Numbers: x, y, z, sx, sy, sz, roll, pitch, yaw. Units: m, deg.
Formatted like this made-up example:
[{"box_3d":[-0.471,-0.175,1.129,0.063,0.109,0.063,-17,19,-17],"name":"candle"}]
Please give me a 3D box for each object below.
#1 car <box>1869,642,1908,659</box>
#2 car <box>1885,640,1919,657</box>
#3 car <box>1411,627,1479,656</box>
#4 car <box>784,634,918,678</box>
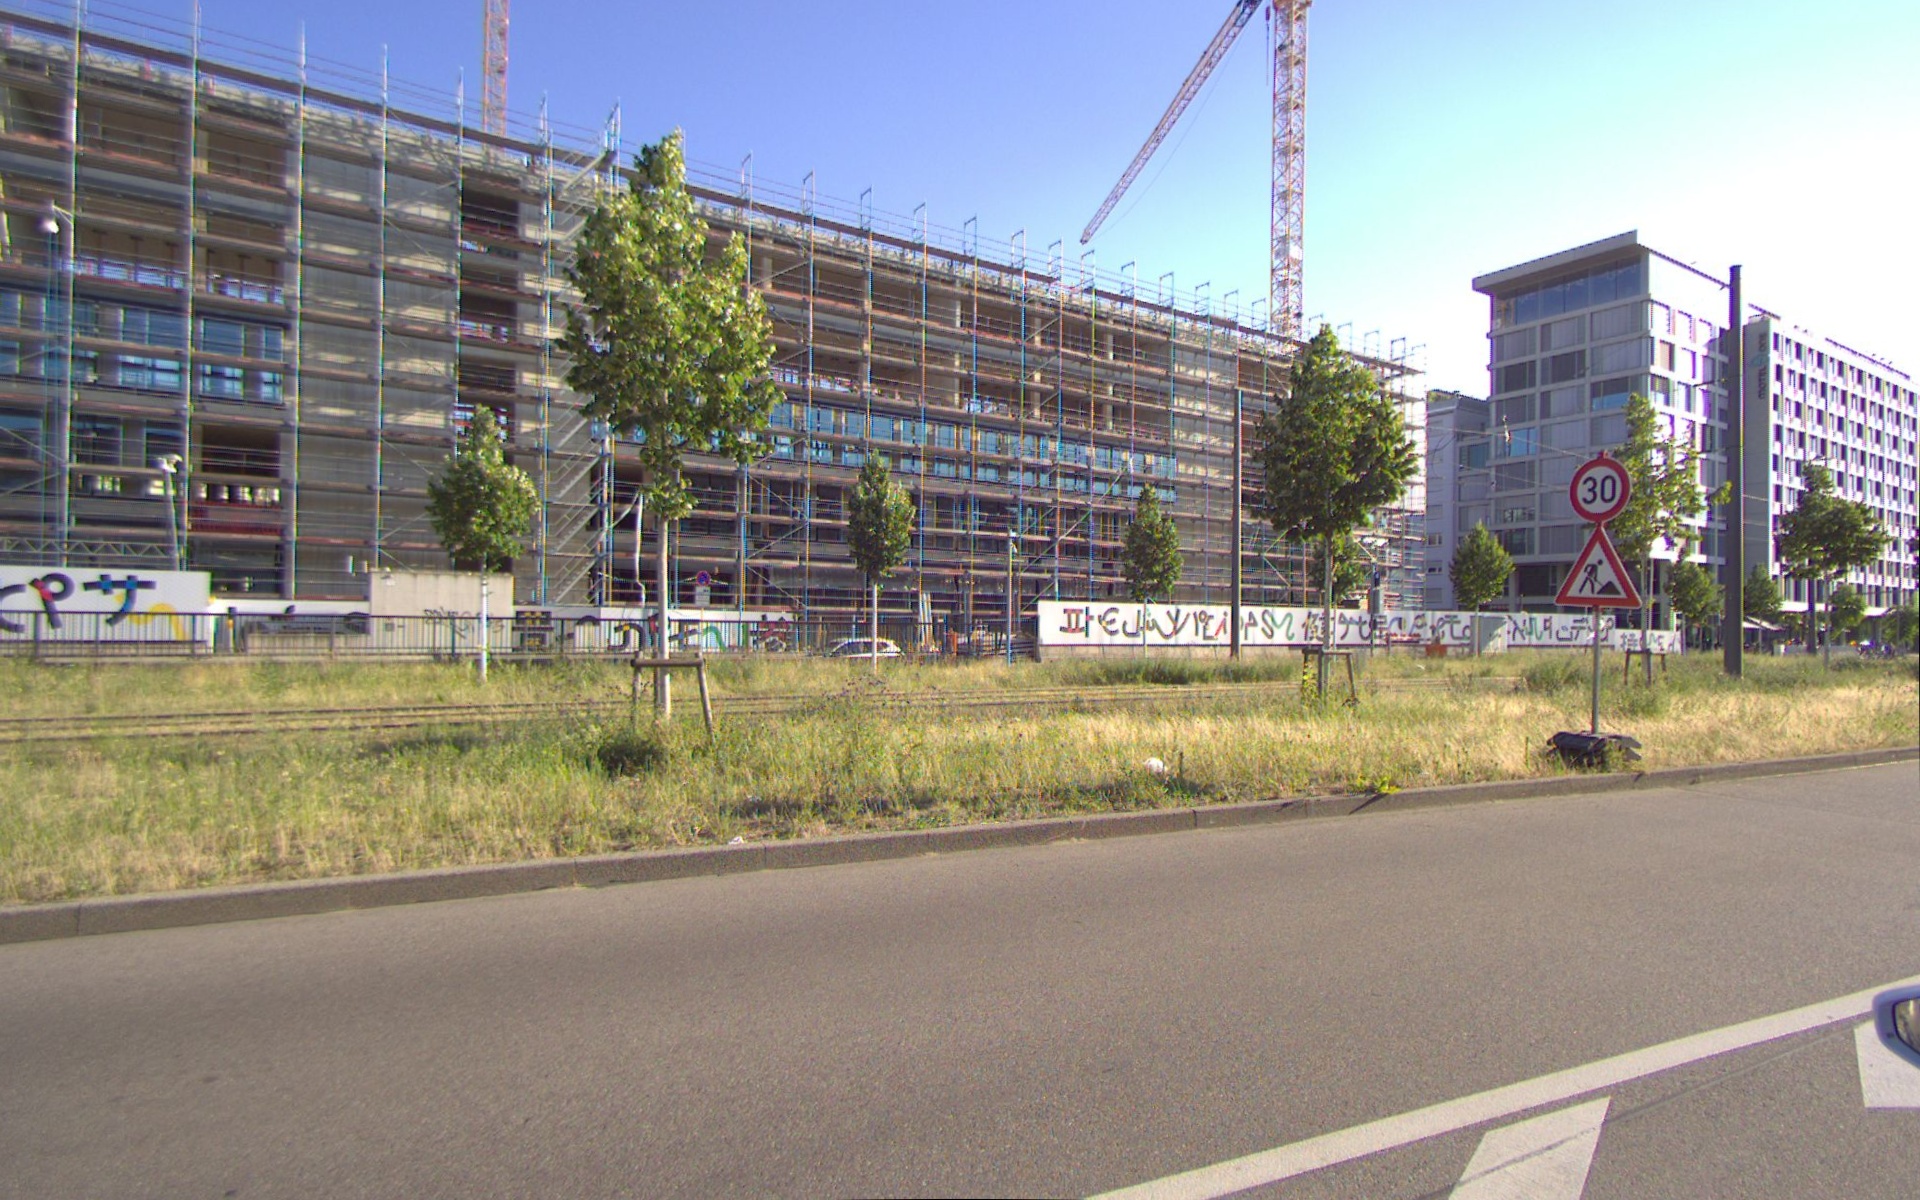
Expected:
[{"box_3d":[84.037,4.567,90.894,3.543,1.461,1.699,2,0,-32],"name":"car"},{"box_3d":[82.414,4.227,87.599,3.543,1.461,1.699,2,0,-32],"name":"car"},{"box_3d":[26.223,2.261,54.305,3.543,1.461,1.699,2,0,-32],"name":"car"},{"box_3d":[-3.512,1.774,32.508,4.045,1.327,1.520,1,-1,-30],"name":"car"}]
